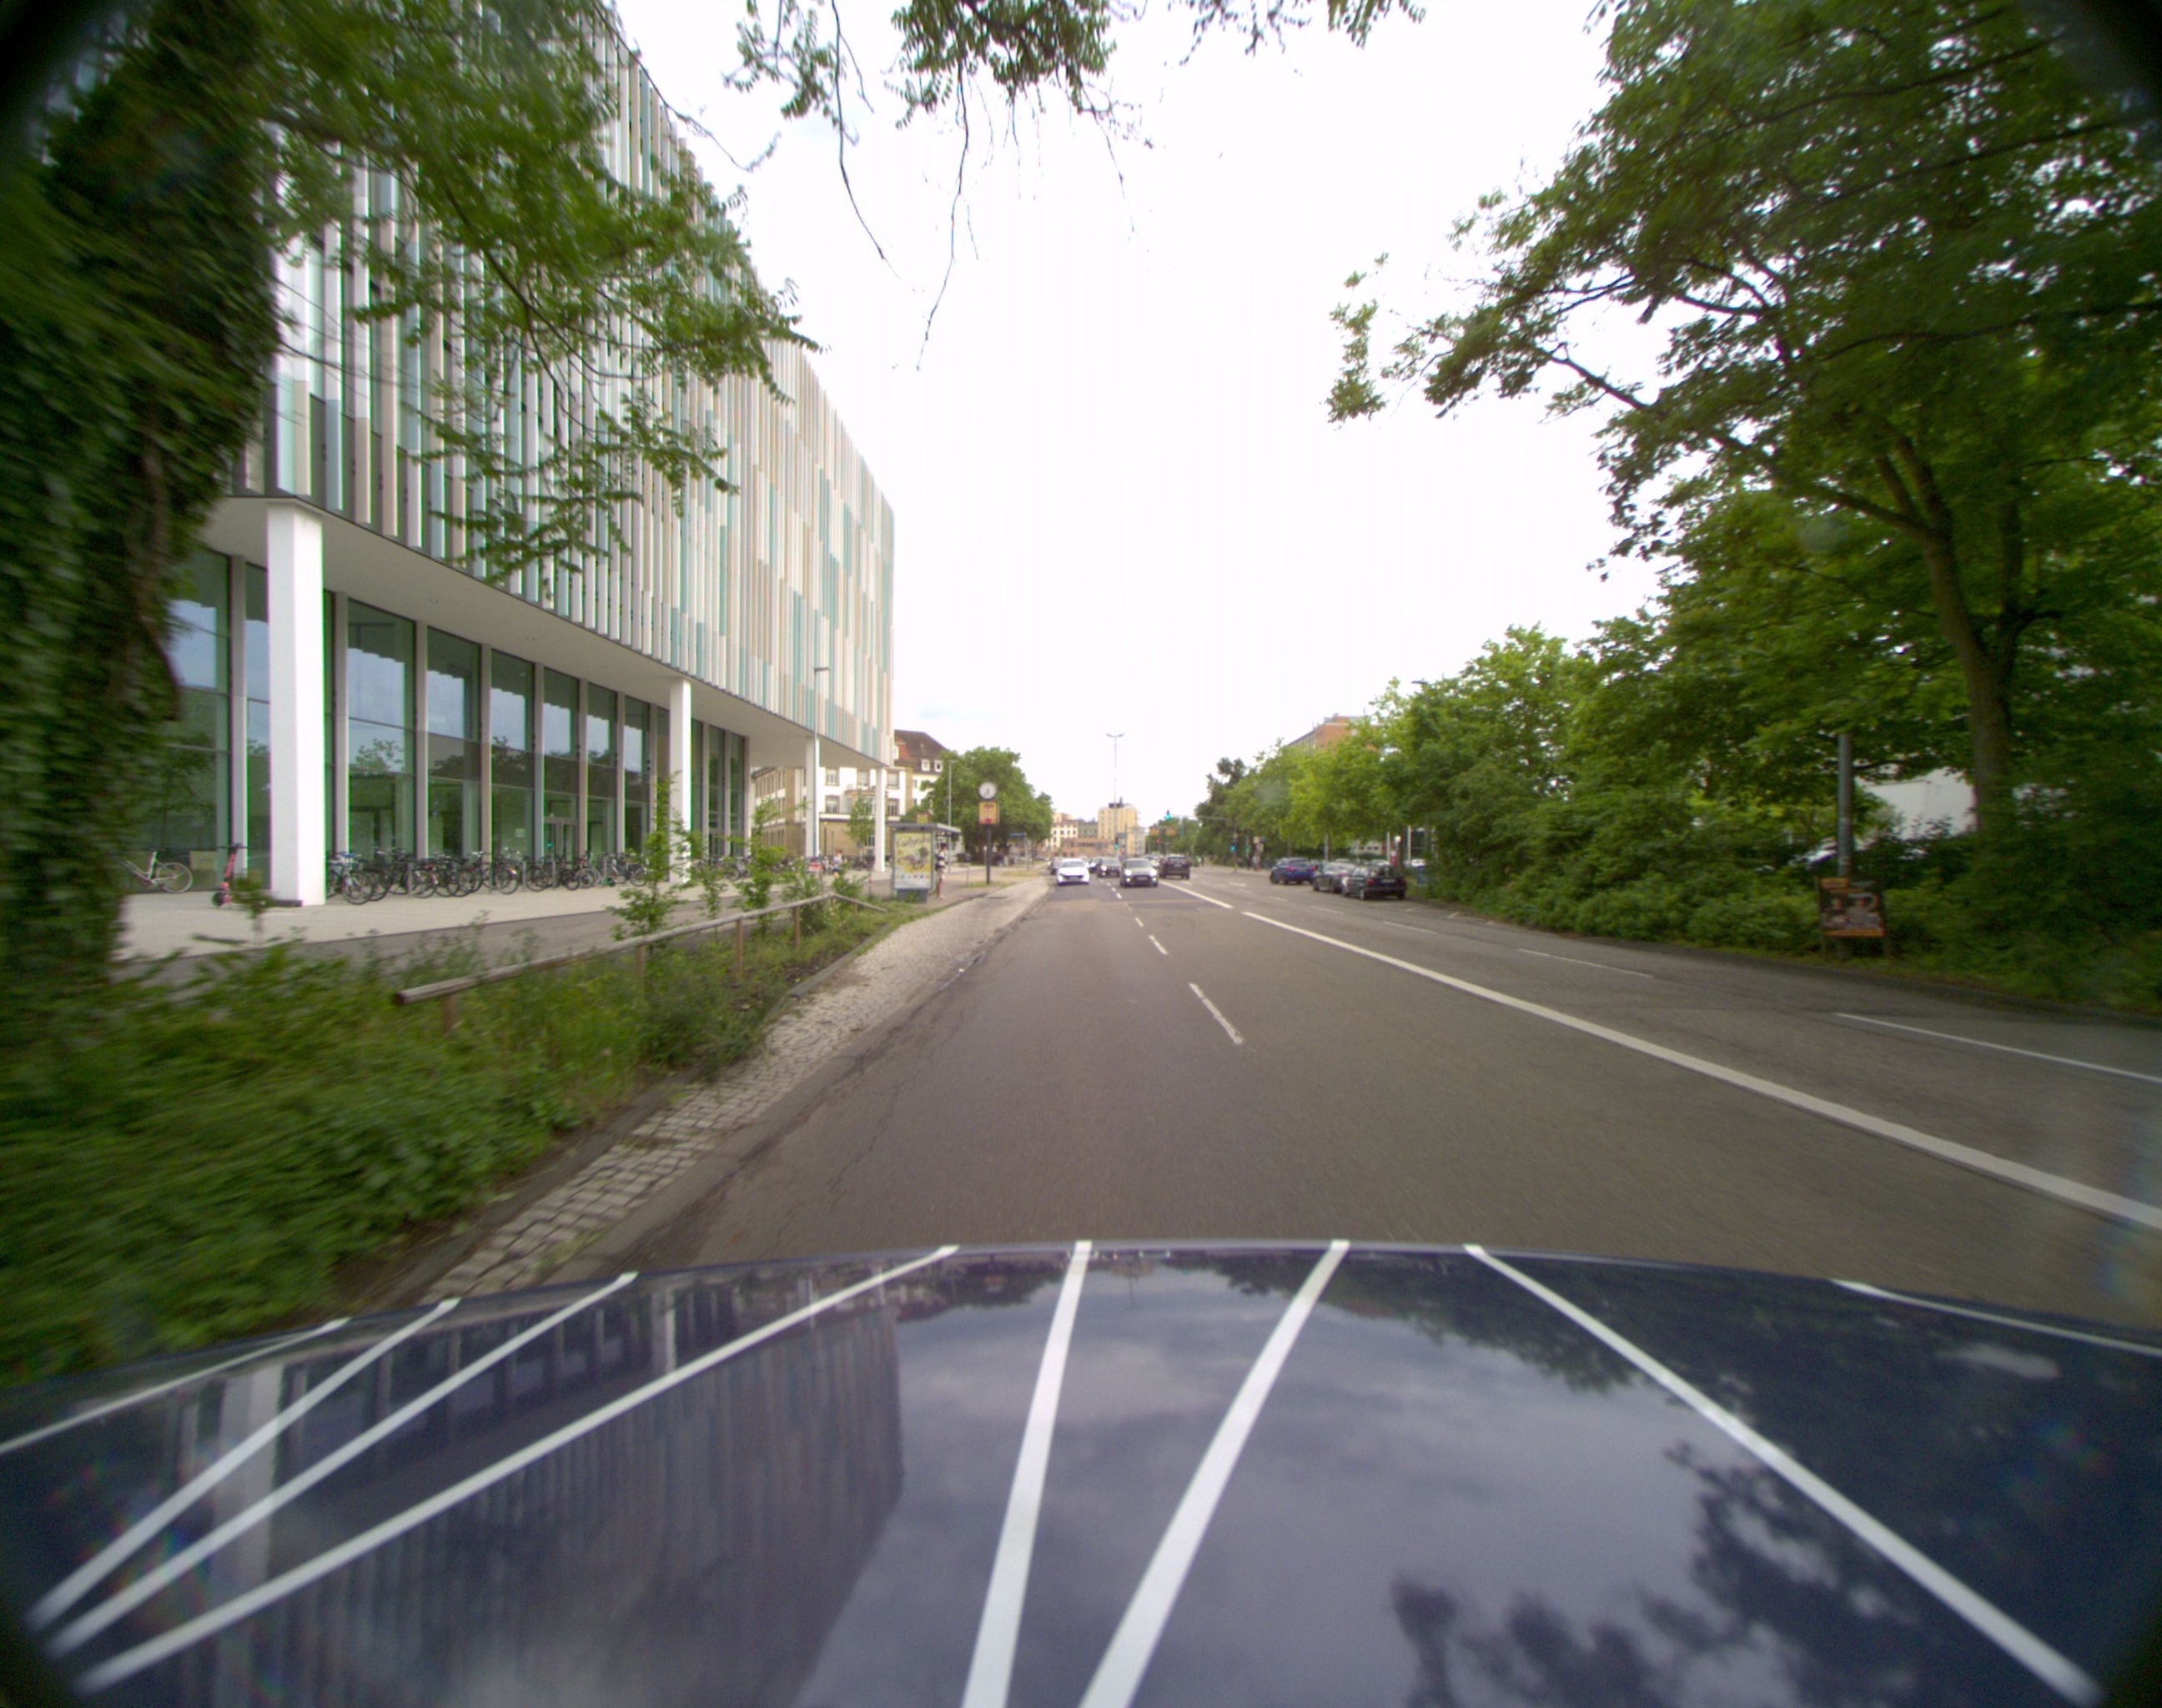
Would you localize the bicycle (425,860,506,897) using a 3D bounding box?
[{"bbox_3d":[-15.670,0.613,19.372,1.610,0.869,0.556,2,0,1],"label":"bicycle"}]

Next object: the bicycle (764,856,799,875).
[{"bbox_3d":[-15.880,0.628,40.316,1.608,0.930,0.569,3,0,11],"label":"bicycle"}]

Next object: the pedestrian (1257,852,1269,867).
[{"bbox_3d":[24.642,0.713,102.819,1.043,2.002,1.098,-2,0,-30],"label":"pedestrian"}]

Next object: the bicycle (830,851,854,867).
[{"bbox_3d":[-21.150,0.463,67.229,2.011,1.298,0.644,2,-1,-21],"label":"bicycle"}]

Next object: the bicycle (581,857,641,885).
[{"bbox_3d":[-15.319,0.557,24.773,1.610,0.869,0.556,1,0,1],"label":"bicycle"}]

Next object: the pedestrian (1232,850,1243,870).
[{"bbox_3d":[15.747,0.575,76.399,0.896,2.002,1.009,1,0,-1],"label":"pedestrian"}]

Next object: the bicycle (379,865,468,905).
[{"bbox_3d":[-15.412,0.717,17.822,1.610,0.869,0.556,1,0,1],"label":"bicycle"}]

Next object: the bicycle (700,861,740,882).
[{"bbox_3d":[-15.973,0.781,33.607,1.610,0.891,0.366,1,1,1],"label":"bicycle"}]

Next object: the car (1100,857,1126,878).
[{"bbox_3d":[2.366,0.962,55.939,1.731,1.450,4.001,1,0,4],"label":"car"}]

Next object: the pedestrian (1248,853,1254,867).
[{"bbox_3d":[21.056,0.742,94.289,0.590,1.685,0.653,1,1,3],"label":"pedestrian"}]

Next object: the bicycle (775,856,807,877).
[{"bbox_3d":[-15.024,0.635,39.389,1.403,1.037,0.559,3,0,1],"label":"bicycle"}]

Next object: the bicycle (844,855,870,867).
[{"bbox_3d":[-18.727,0.610,63.587,1.964,0.996,0.772,1,0,-41],"label":"bicycle"}]

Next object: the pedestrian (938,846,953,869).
[{"bbox_3d":[-12.312,0.342,69.152,1.186,2.050,1.134,-1,0,-14],"label":"pedestrian"}]

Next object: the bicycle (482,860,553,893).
[{"bbox_3d":[-15.986,0.637,21.582,1.610,0.869,0.556,1,0,1],"label":"bicycle"}]

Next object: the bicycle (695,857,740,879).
[{"bbox_3d":[-15.135,0.569,31.638,1.610,0.869,0.556,1,0,1],"label":"bicycle"}]

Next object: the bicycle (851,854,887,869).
[{"bbox_3d":[-17.192,0.627,61.624,2.726,1.181,0.772,1,0,-41],"label":"bicycle"}]

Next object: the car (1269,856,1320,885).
[{"bbox_3d":[12.597,0.942,45.141,1.863,1.598,4.593,-1,0,2],"label":"car"}]

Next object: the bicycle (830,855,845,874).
[{"bbox_3d":[-14.675,0.624,45.778,0.610,1.073,1.961,2,0,-11],"label":"bicycle"}]

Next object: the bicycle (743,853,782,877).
[{"bbox_3d":[-15.603,0.547,37.244,1.647,1.085,0.573,3,1,9],"label":"bicycle"}]

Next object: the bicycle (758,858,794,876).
[{"bbox_3d":[-15.331,0.673,38.227,1.610,0.869,0.556,1,0,1],"label":"bicycle"}]

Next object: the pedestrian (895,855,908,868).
[{"bbox_3d":[-16.042,0.644,67.919,0.892,1.186,0.846,1,0,15],"label":"pedestrian"}]

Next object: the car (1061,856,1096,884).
[{"bbox_3d":[-0.109,0.868,43.913,1.813,1.532,4.001,1,0,3],"label":"car"}]

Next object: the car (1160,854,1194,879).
[{"bbox_3d":[6.701,0.843,53.425,1.907,1.584,4.516,1,0,1],"label":"car"}]

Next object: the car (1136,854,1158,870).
[{"bbox_3d":[6.847,0.813,79.141,1.998,1.538,4.180,2,0,1],"label":"car"}]

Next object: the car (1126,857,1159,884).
[{"bbox_3d":[3.152,0.818,38.916,1.624,1.310,3.707,1,0,4],"label":"car"}]

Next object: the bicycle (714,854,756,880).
[{"bbox_3d":[-15.720,0.594,34.523,1.648,1.095,0.572,2,0,4],"label":"bicycle"}]

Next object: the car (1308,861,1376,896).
[{"bbox_3d":[12.131,1.091,35.602,1.878,1.416,4.730,1,0,4],"label":"car"}]

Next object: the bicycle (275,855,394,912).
[{"bbox_3d":[-15.517,0.609,15.825,1.799,1.075,0.626,3,0,-1],"label":"bicycle"}]

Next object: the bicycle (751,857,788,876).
[{"bbox_3d":[-15.323,0.610,37.391,1.610,0.869,0.556,1,0,3],"label":"bicycle"}]

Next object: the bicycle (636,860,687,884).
[{"bbox_3d":[-15.089,0.642,27.334,1.536,0.829,0.556,1,0,1],"label":"bicycle"}]

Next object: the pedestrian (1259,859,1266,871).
[{"bbox_3d":[24.816,1.531,103.879,0.503,1.597,0.601,5,-1,-11],"label":"pedestrian"}]

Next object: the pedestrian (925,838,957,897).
[{"bbox_3d":[-4.930,0.486,26.833,0.914,2.001,0.854,2,-2,0],"label":"pedestrian"}]

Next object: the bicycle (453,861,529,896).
[{"bbox_3d":[-15.821,0.645,20.391,1.610,0.869,0.556,1,0,1],"label":"bicycle"}]

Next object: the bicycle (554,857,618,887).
[{"bbox_3d":[-15.363,0.554,23.599,1.610,0.869,0.556,1,0,1],"label":"bicycle"}]

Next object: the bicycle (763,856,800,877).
[{"bbox_3d":[-15.301,0.622,38.824,1.610,0.977,0.556,3,0,1],"label":"bicycle"}]

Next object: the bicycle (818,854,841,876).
[{"bbox_3d":[-14.212,0.599,42.967,0.637,1.134,2.200,3,0,-4],"label":"bicycle"}]

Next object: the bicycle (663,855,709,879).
[{"bbox_3d":[-16.211,0.536,31.172,1.695,0.941,0.516,1,0,7],"label":"bicycle"}]

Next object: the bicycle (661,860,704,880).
[{"bbox_3d":[-16.023,0.640,30.557,1.438,0.741,0.556,1,0,1],"label":"bicycle"}]

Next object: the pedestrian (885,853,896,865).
[{"bbox_3d":[-19.579,0.519,78.093,0.911,1.250,0.879,-1,0,4],"label":"pedestrian"}]

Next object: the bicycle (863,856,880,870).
[{"bbox_3d":[-16.006,0.678,58.058,0.640,1.055,1.841,-1,0,5],"label":"bicycle"}]

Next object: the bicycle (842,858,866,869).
[{"bbox_3d":[-19.224,0.801,64.309,0.670,0.893,1.850,1,0,42],"label":"bicycle"}]

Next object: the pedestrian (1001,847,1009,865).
[{"bbox_3d":[-8.472,0.268,84.680,0.844,2.002,0.894,1,0,2],"label":"pedestrian"}]

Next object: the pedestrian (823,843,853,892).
[{"bbox_3d":[-9.184,0.517,28.763,0.845,1.825,0.894,1,0,-2],"label":"pedestrian"}]

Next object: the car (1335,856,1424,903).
[{"bbox_3d":[11.996,0.980,30.837,1.998,1.679,4.000,-2,0,1],"label":"car"}]

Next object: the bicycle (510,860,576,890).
[{"bbox_3d":[-15.952,0.623,22.540,1.607,0.879,0.516,1,0,1],"label":"bicycle"}]

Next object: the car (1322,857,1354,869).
[{"bbox_3d":[33.105,1.177,97.891,3.593,1.441,1.863,-1,0,0],"label":"car"}]

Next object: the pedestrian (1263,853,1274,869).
[{"bbox_3d":[20.910,0.781,84.884,0.897,1.793,0.935,1,1,-3],"label":"pedestrian"}]

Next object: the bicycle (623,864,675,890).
[{"bbox_3d":[-14.738,0.768,25.940,1.458,0.834,0.556,1,0,1],"label":"bicycle"}]

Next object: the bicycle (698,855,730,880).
[{"bbox_3d":[-16.194,0.599,33.494,1.200,1.043,0.434,2,1,7],"label":"bicycle"}]

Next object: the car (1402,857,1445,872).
[{"bbox_3d":[38.946,1.212,86.423,3.997,1.570,2.000,-1,0,-1],"label":"car"}]

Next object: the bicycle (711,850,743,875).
[{"bbox_3d":[-17.354,0.422,37.185,1.981,1.138,0.650,2,0,42],"label":"bicycle"}]

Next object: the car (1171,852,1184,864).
[{"bbox_3d":[14.842,0.640,116.925,1.775,1.837,4.491,-1,0,6],"label":"car"}]

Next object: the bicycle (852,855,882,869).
[{"bbox_3d":[-16.943,0.626,60.219,2.188,1.109,0.734,1,0,-42],"label":"bicycle"}]

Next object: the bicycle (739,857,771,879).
[{"bbox_3d":[-15.389,0.646,35.852,1.245,1.002,0.550,2,1,5],"label":"bicycle"}]

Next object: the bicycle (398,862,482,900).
[{"bbox_3d":[-15.834,0.663,18.789,1.610,0.869,0.556,1,0,1],"label":"bicycle"}]

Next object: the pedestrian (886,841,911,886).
[{"bbox_3d":[-8.436,0.428,35.213,0.844,2.002,0.894,2,1,2],"label":"pedestrian"}]

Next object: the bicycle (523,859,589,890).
[{"bbox_3d":[-15.950,0.619,23.108,1.610,0.869,0.556,2,0,1],"label":"bicycle"}]

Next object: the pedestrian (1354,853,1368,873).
[{"bbox_3d":[27.648,0.861,74.989,0.796,2.002,1.096,1,1,-16],"label":"pedestrian"}]

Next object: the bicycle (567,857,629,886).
[{"bbox_3d":[-15.349,0.556,24.183,1.610,0.869,0.556,1,0,1],"label":"bicycle"}]

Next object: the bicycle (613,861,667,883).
[{"bbox_3d":[-15.513,0.637,26.728,1.564,0.712,0.556,1,0,1],"label":"bicycle"}]
